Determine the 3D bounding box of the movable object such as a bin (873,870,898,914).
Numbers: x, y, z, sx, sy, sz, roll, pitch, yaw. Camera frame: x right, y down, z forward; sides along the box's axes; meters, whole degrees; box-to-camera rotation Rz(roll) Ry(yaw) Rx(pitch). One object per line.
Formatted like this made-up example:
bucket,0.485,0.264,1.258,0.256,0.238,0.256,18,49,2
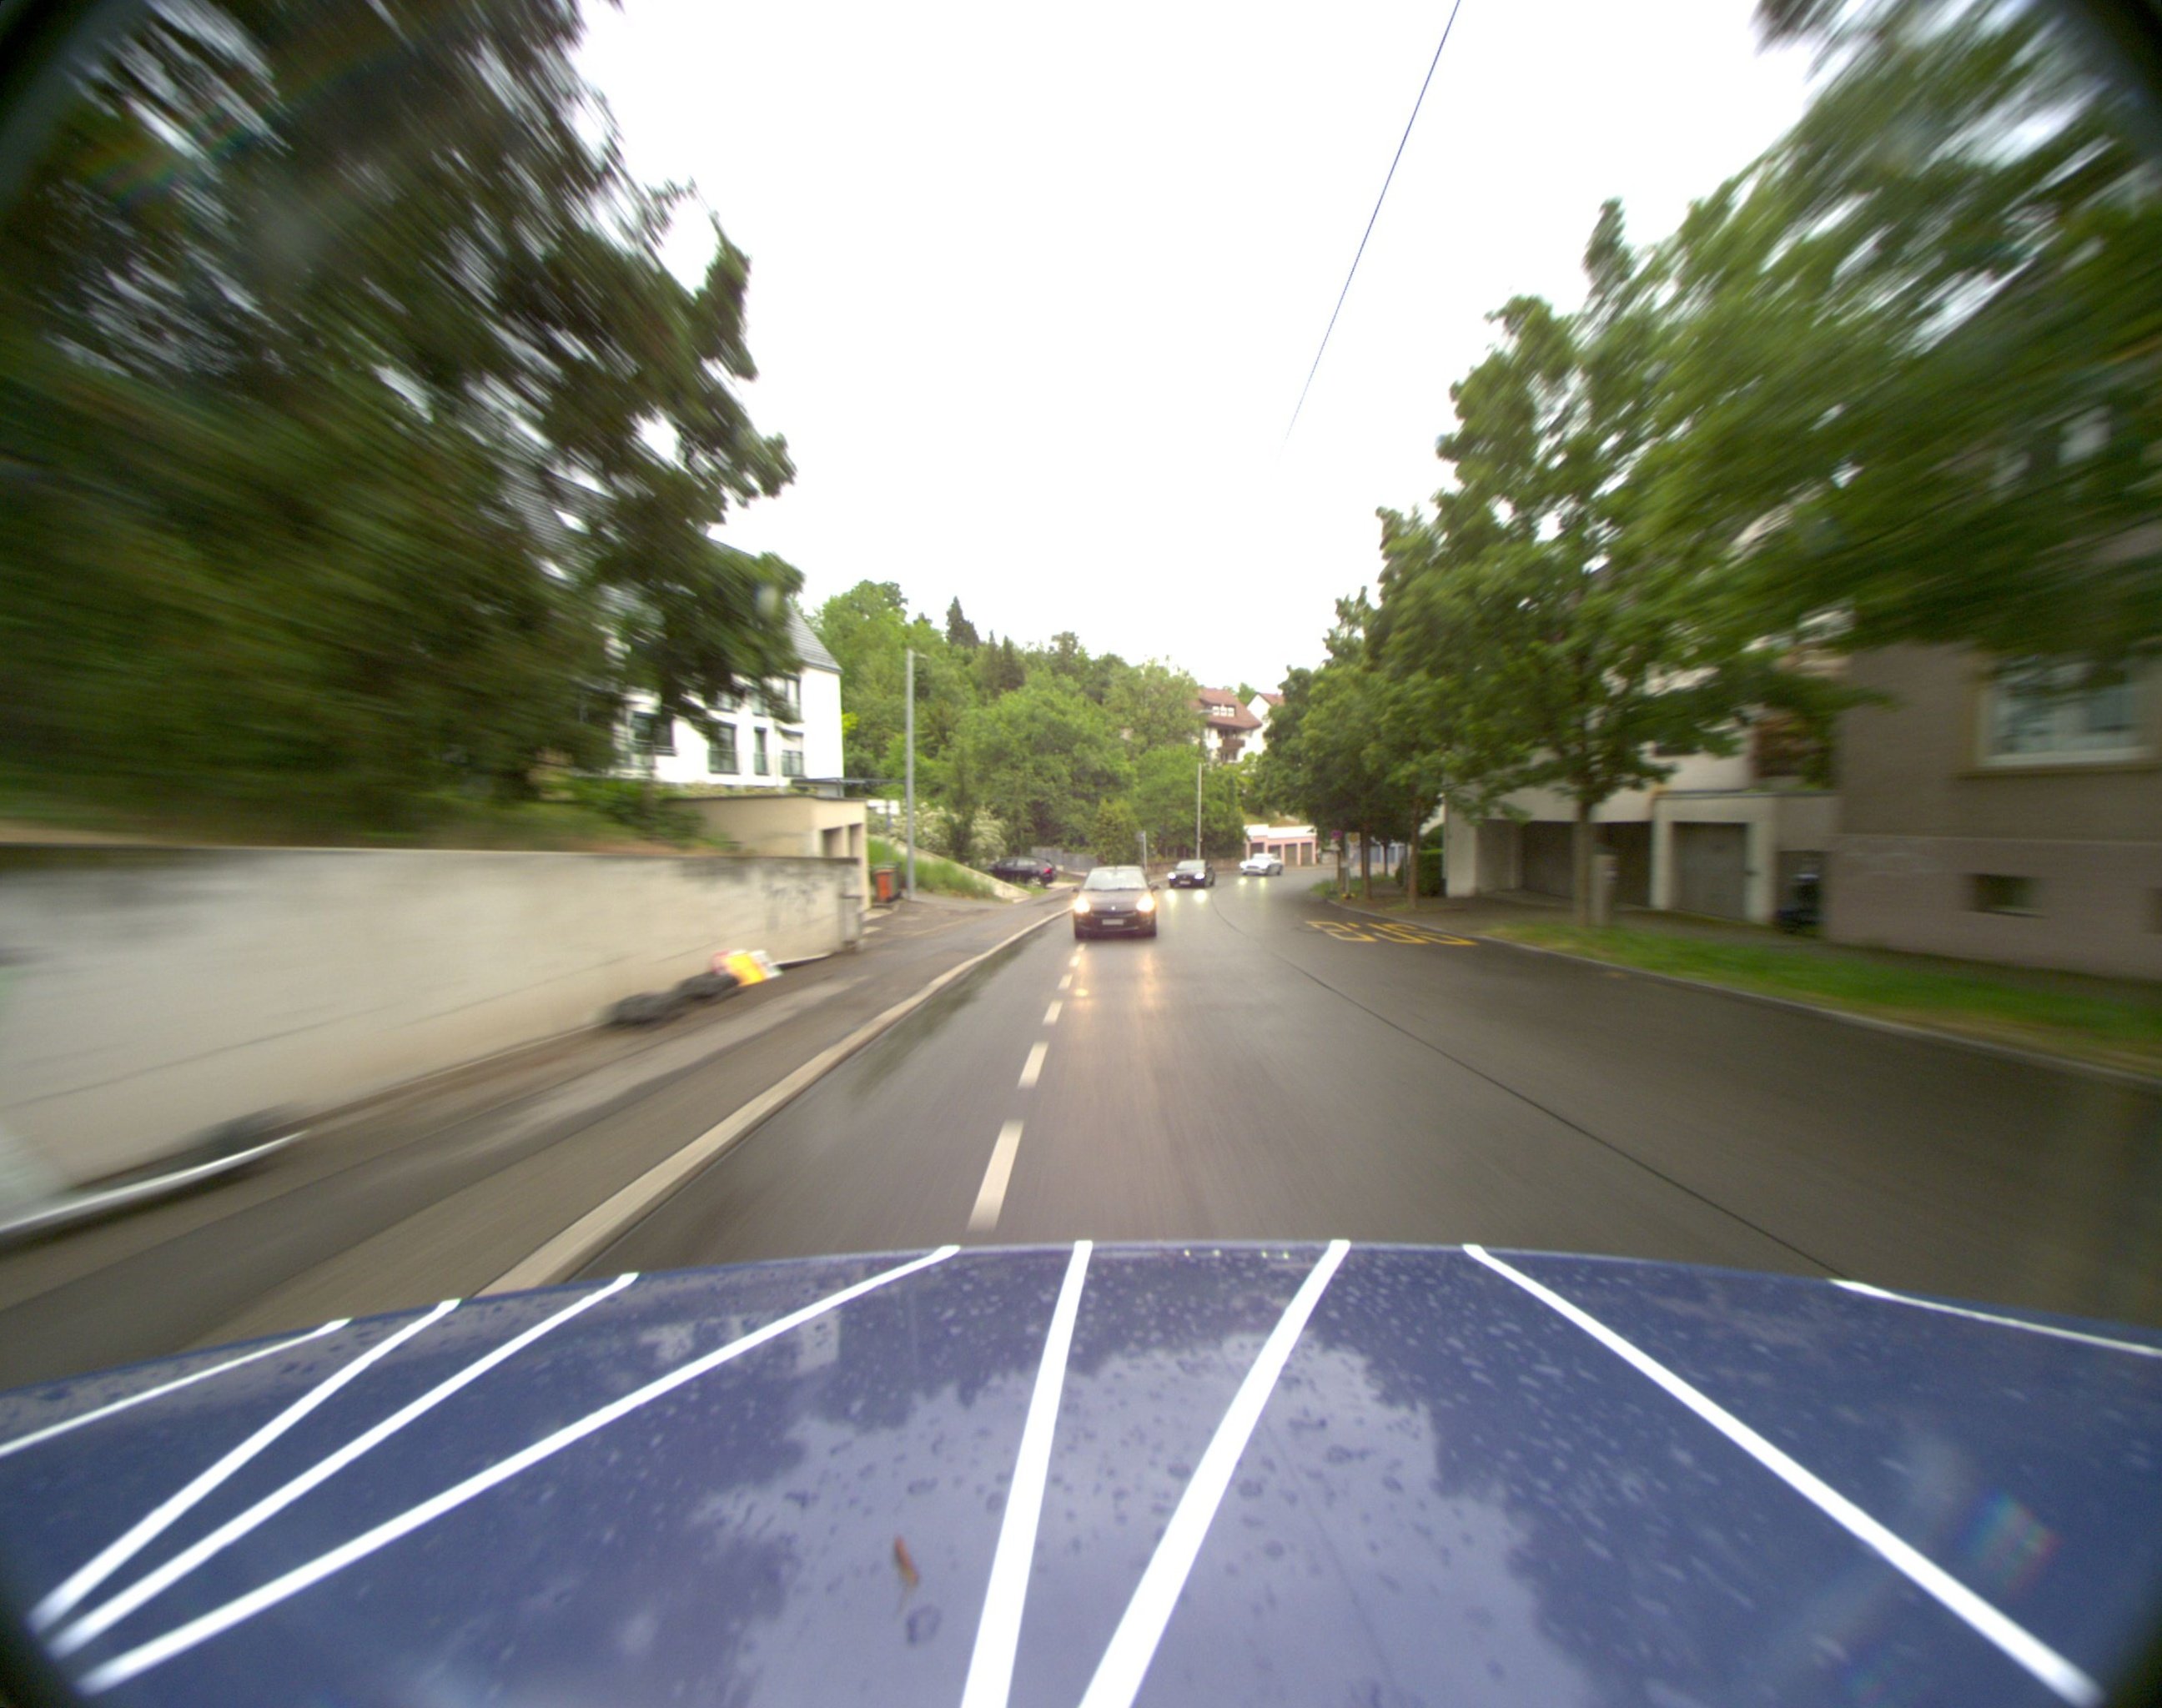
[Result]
movable object such as a bin,-5.325,1.026,20.675,0.575,1.169,0.443,0,1,-3

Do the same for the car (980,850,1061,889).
car,-2.801,0.704,35.641,3.464,1.623,1.580,2,2,7

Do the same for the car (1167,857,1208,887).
car,5.486,0.899,39.571,1.807,1.480,4.018,0,0,3

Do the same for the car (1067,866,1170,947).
car,0.912,1.021,16.177,1.576,1.444,3.590,0,0,13

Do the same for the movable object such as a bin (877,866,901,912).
movable object such as a bin,-5.348,0.976,21.178,0.564,1.261,0.453,0,1,-3

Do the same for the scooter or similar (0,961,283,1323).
scooter or similar,-4.044,1.066,2.862,0.599,1.126,1.370,0,0,2

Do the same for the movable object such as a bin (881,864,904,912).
movable object such as a bin,-5.368,0.956,21.682,0.555,1.343,0.463,0,1,-3

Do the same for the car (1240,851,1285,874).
car,13.835,0.593,57.716,2.008,1.652,4.454,0,0,32
